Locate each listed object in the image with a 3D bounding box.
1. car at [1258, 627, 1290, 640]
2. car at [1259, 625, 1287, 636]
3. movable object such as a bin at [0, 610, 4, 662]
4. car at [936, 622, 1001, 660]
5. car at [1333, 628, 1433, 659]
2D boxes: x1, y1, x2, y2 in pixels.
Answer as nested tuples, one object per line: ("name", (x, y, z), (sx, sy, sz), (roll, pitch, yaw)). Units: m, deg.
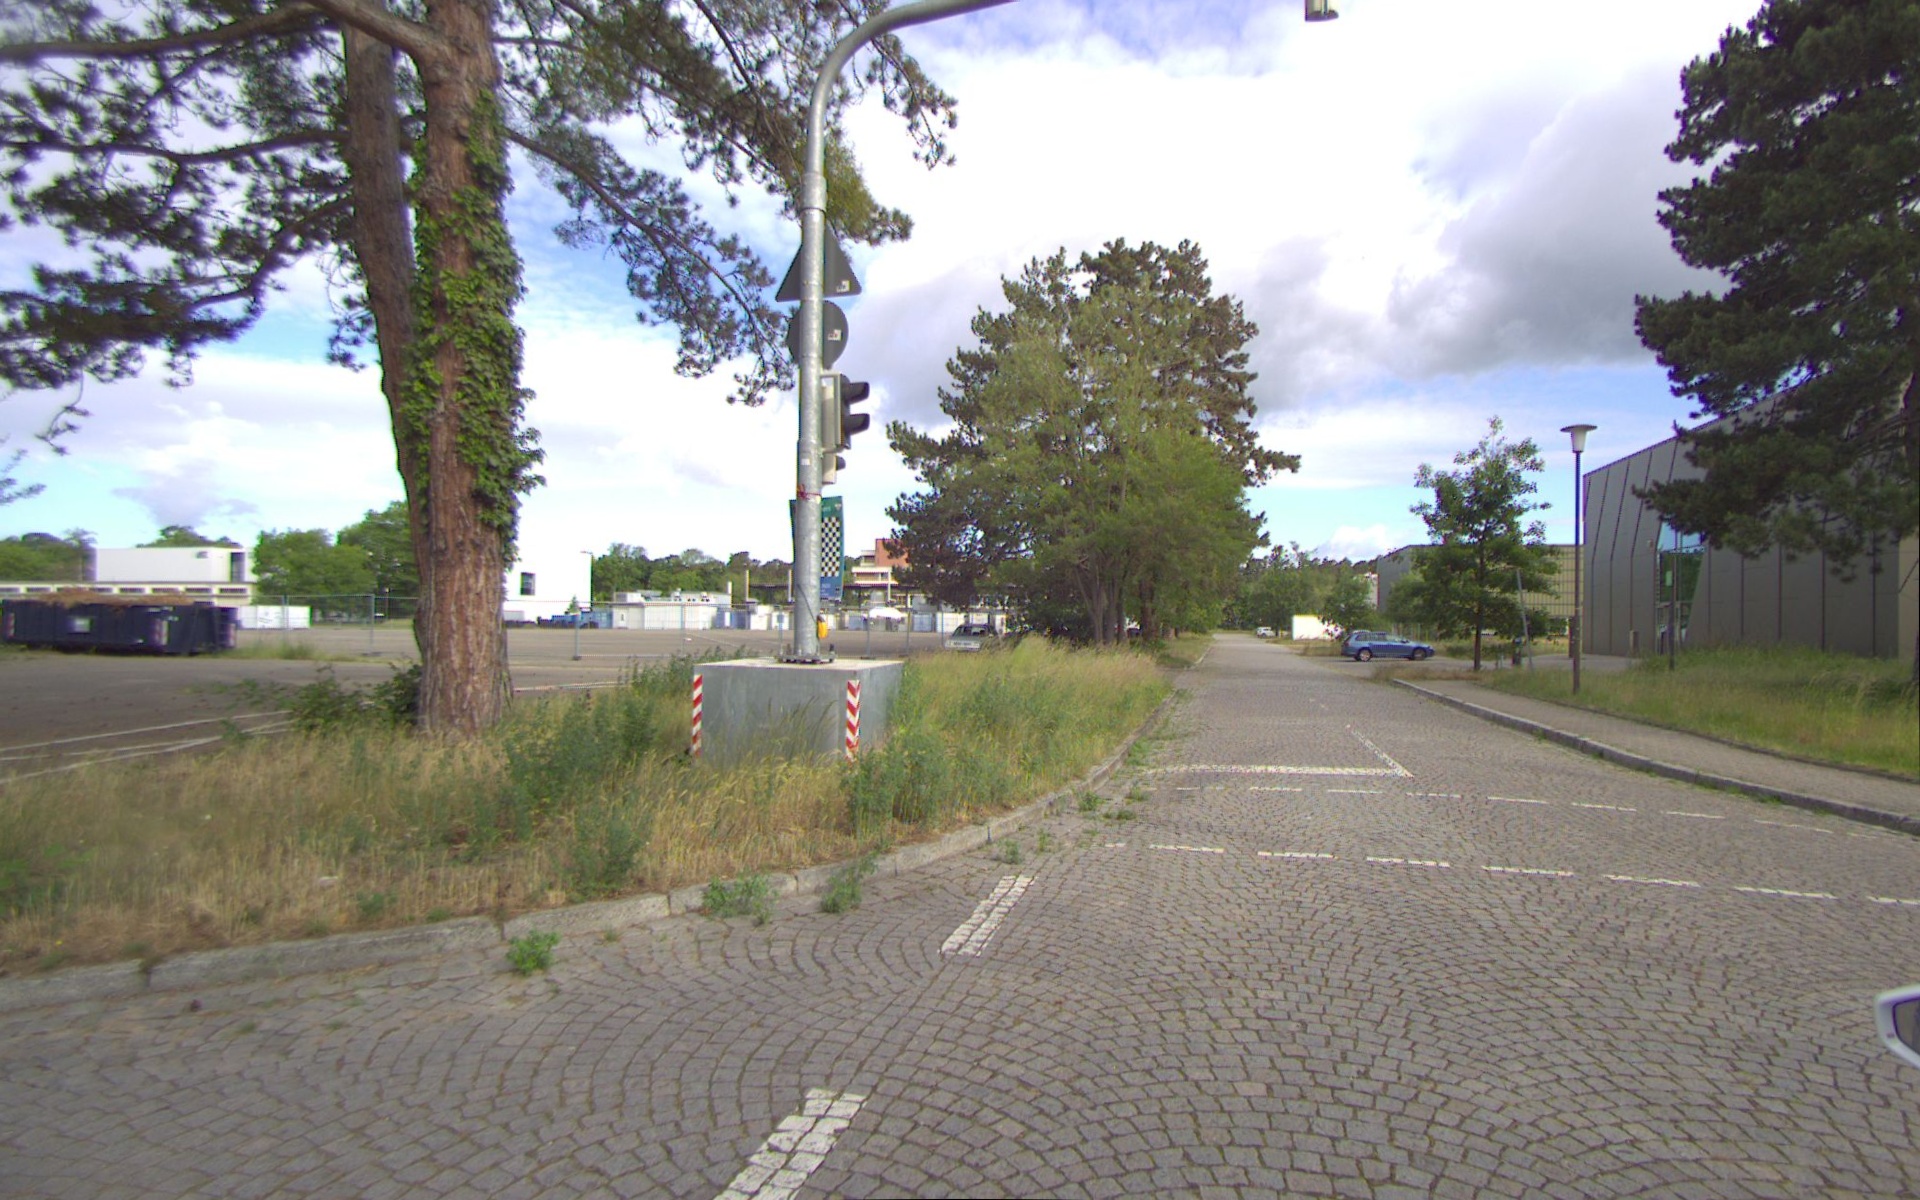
("car", (44.502, 4.777, 142.545), (4.281, 1.710, 1.926), (0, -1, 14))
("car", (50.659, 4.941, 162.640), (4.281, 1.804, 1.926), (0, -1, 16))
("movable object such as a bin", (-23.815, 0.832, 22.999), (1.147, 1.228, 2.541), (1, -1, 15))
("car", (0.431, 1.682, 42.185), (1.886, 1.496, 4.372), (1, -1, 12))
("car", (21.734, 2.237, 51.771), (4.440, 1.552, 2.001), (-1, -1, 12))
